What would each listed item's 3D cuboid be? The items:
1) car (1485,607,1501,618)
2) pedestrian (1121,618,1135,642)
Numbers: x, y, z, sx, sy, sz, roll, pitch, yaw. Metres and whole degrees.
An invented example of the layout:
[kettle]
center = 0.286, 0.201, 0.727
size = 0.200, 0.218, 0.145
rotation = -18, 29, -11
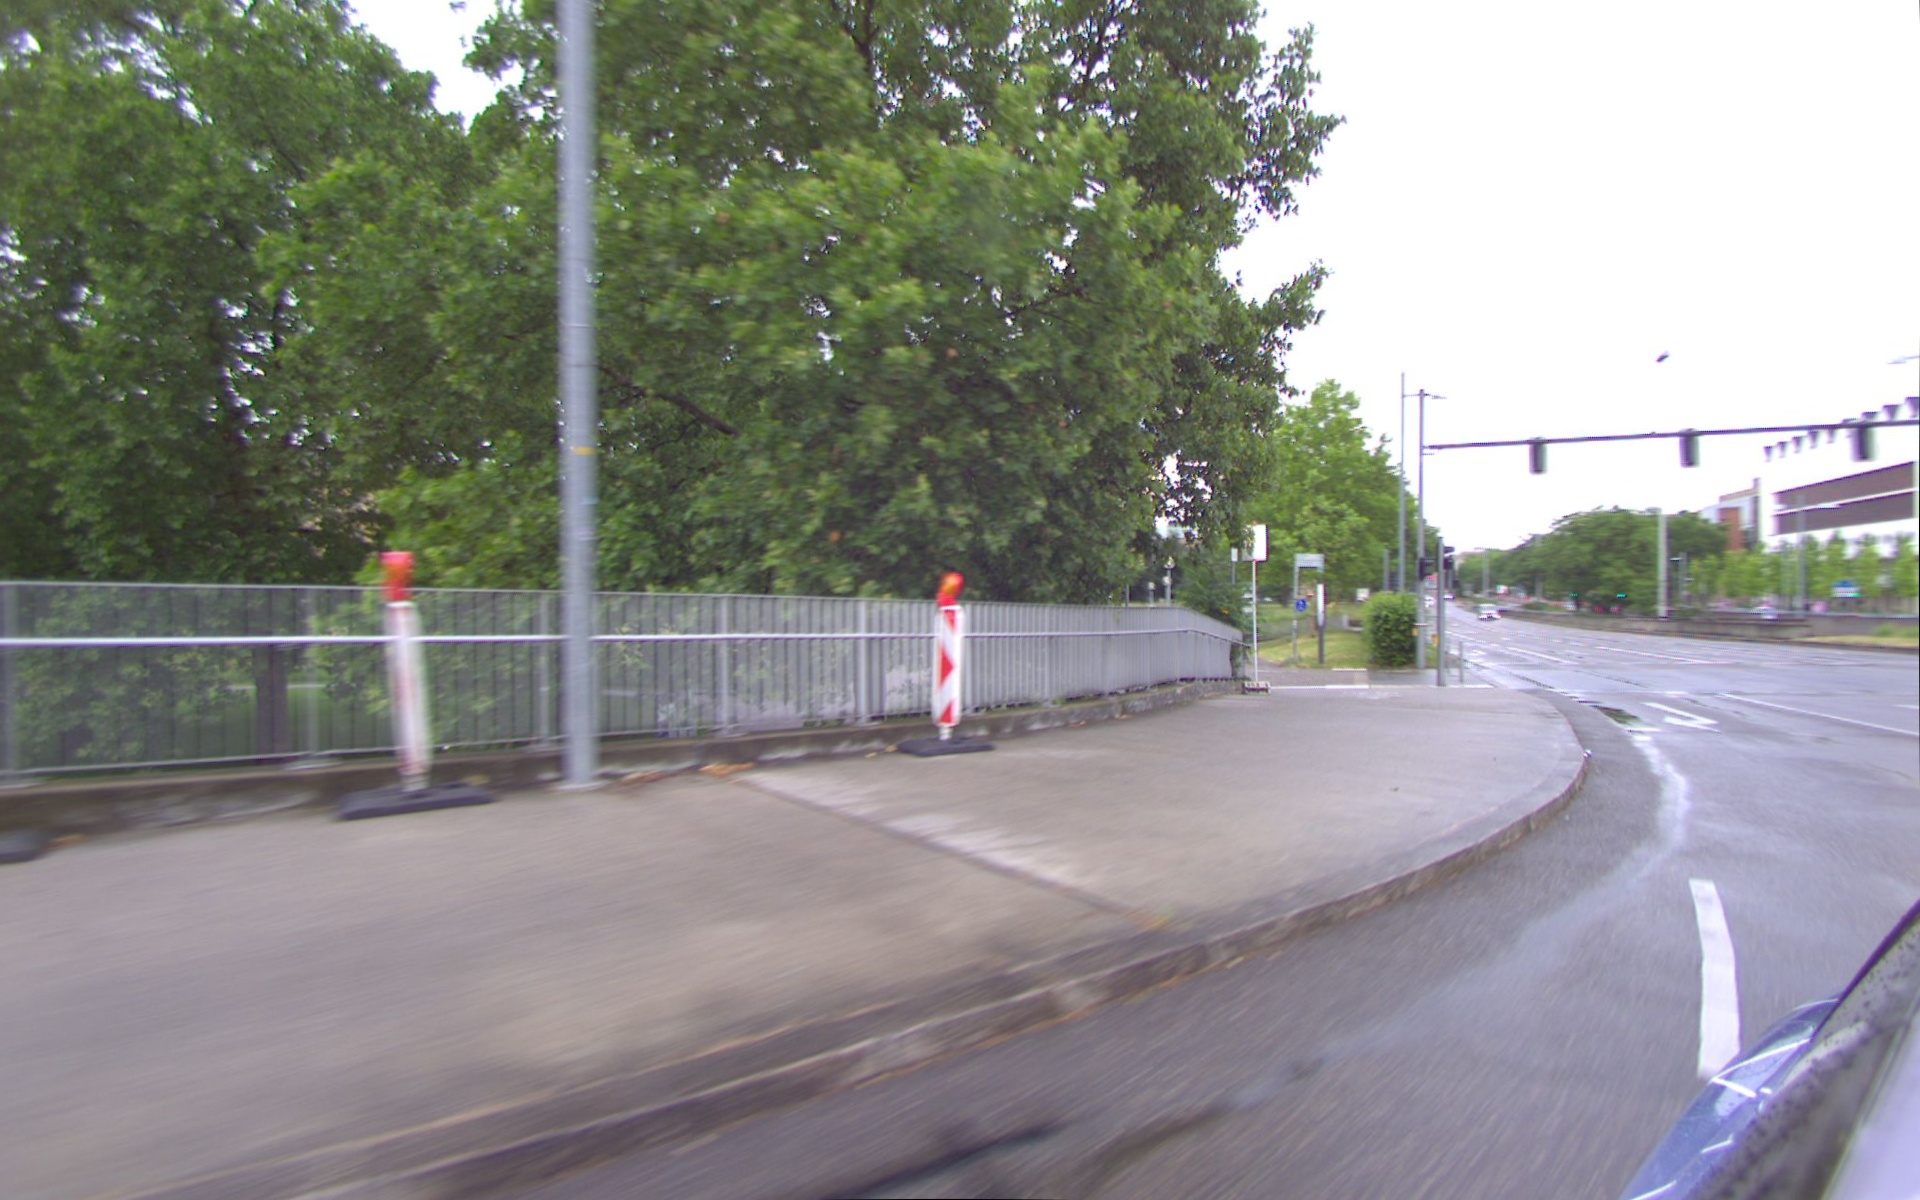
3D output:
[car]
center = 61.721, 1.399, 117.166
size = 1.504, 1.159, 2.736
rotation = -2, 0, 27
[pedestrian]
center = 11.196, 1.982, 67.298
size = 0.667, 1.588, 0.718
rotation = -2, 0, 32
